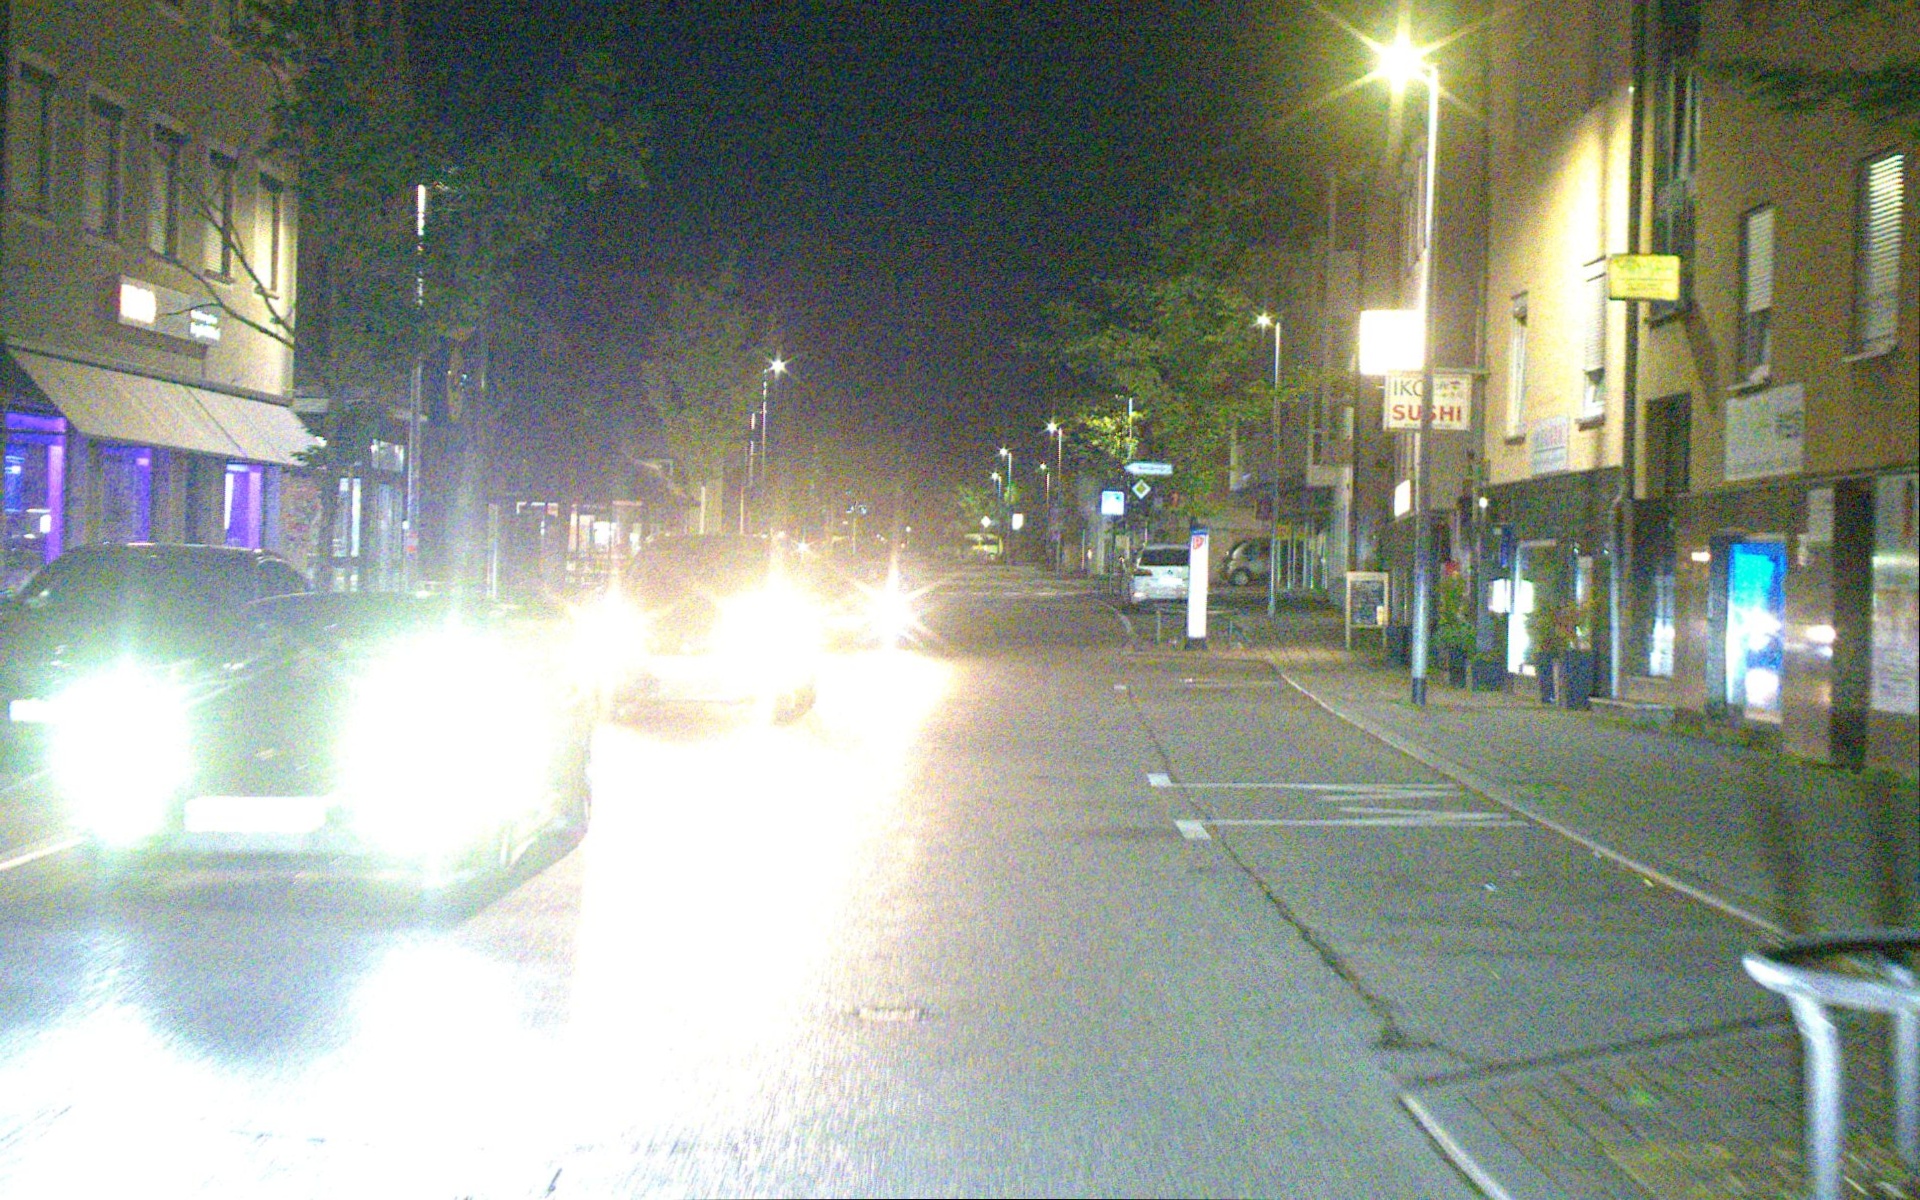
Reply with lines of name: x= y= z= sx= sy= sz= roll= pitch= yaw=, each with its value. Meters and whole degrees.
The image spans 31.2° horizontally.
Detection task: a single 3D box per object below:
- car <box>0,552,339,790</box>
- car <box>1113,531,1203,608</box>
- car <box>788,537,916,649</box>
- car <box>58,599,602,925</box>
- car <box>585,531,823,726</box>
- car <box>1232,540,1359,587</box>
car: x=-5.547 y=0.398 z=22.995 sx=1.914 sy=1.366 sz=4.457 roll=1 pitch=1 yaw=1
car: x=4.377 y=-0.697 z=76.576 sx=1.775 sy=1.647 sz=4.364 roll=1 pitch=1 yaw=1
car: x=-1.646 y=-0.146 z=53.652 sx=1.775 sy=1.647 sz=4.364 roll=1 pitch=1 yaw=1
car: x=-2.784 y=0.658 z=16.094 sx=1.723 sy=1.242 sz=4.237 roll=1 pitch=1 yaw=0
car: x=-2.281 y=0.200 z=31.620 sx=1.775 sy=1.647 sz=4.364 roll=1 pitch=1 yaw=1
car: x=10.701 y=-1.153 z=109.686 sx=3.988 sy=1.412 sz=1.999 roll=1 pitch=-1 yaw=5
